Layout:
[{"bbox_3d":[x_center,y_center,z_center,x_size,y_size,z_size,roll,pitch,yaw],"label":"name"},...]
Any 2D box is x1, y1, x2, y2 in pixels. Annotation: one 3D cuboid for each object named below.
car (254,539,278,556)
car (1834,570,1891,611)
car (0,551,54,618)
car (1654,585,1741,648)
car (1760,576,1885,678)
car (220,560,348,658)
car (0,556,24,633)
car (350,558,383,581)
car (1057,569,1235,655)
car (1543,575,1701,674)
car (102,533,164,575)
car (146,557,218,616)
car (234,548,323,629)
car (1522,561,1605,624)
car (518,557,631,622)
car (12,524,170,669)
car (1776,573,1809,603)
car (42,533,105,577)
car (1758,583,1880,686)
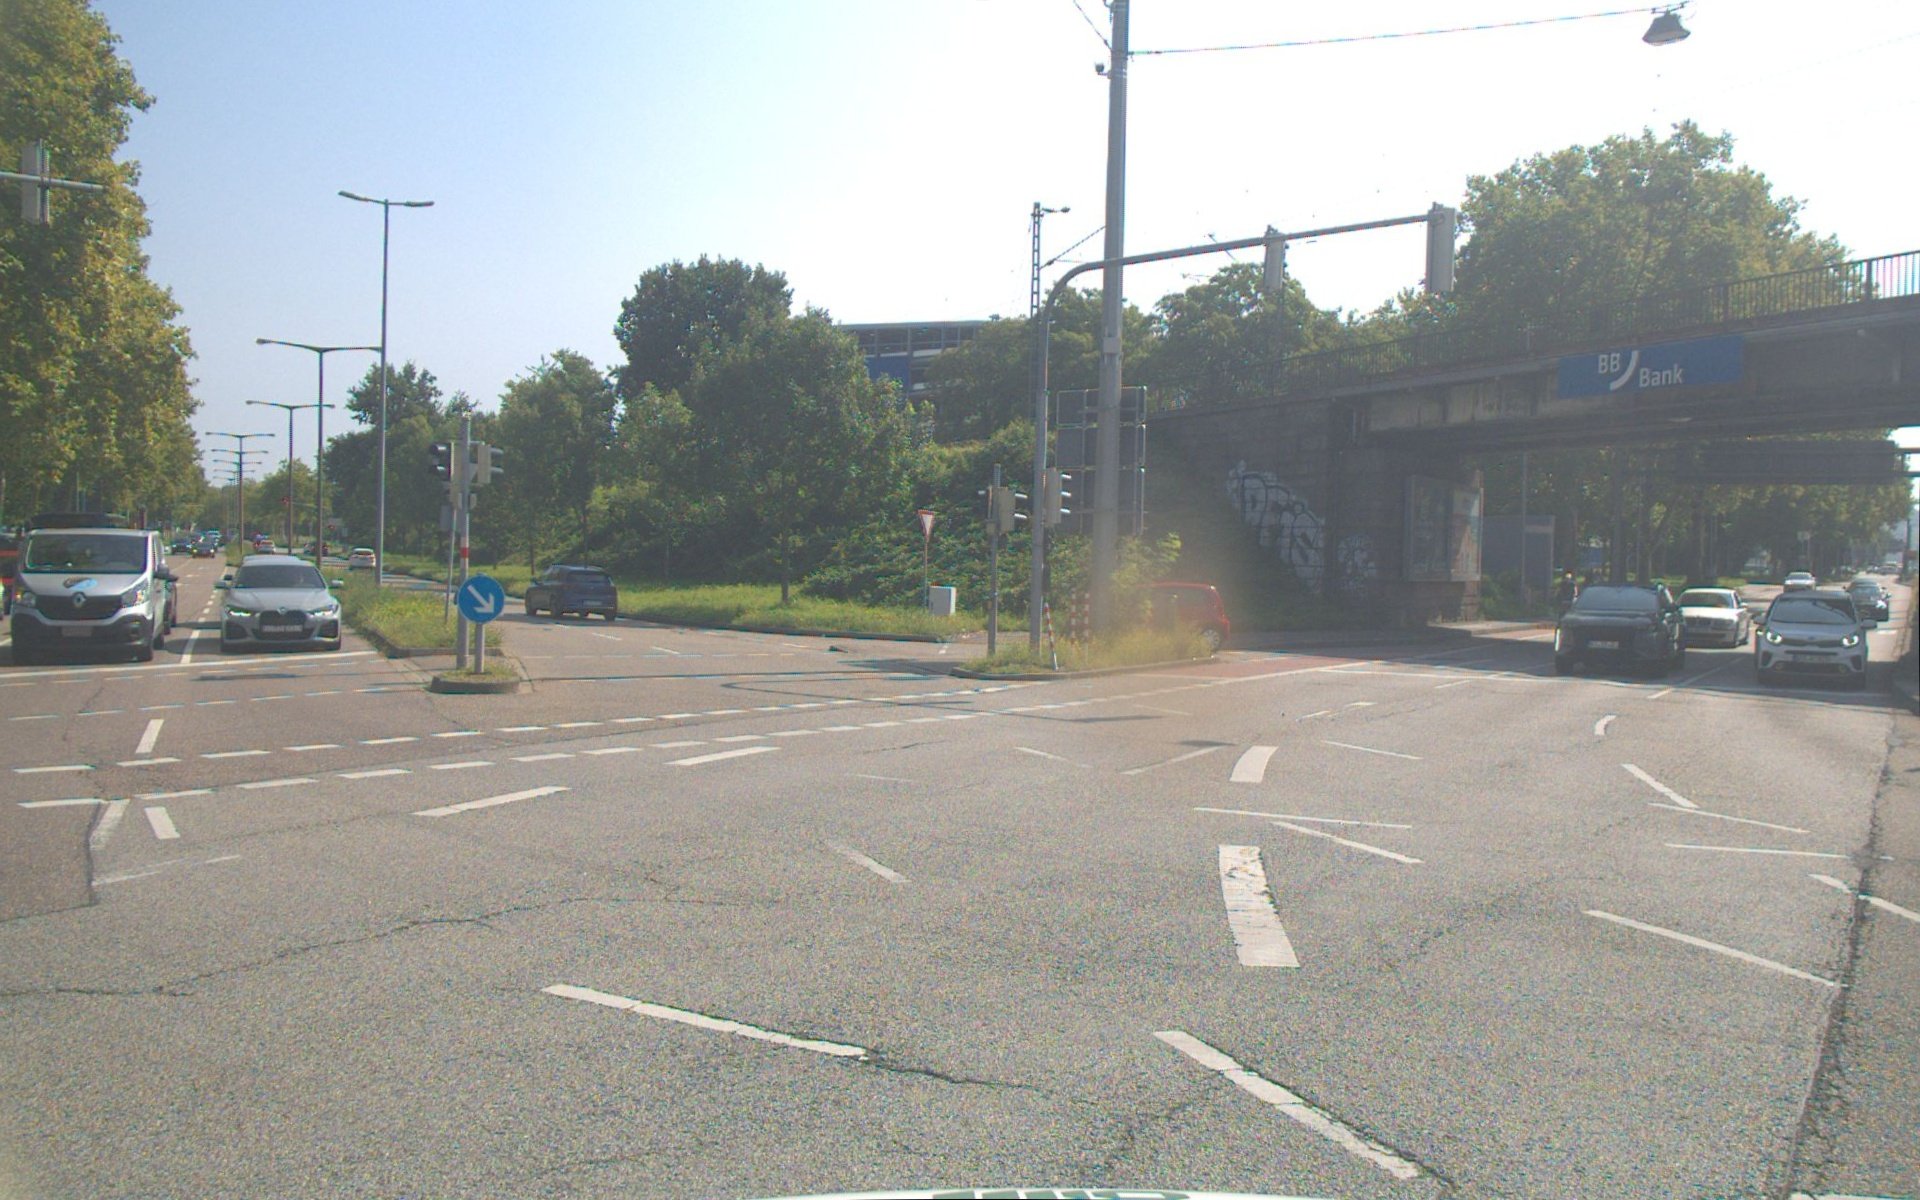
[{"bbox_3d":[-72.254,-5.491,172.264,1.963,1.731,3.980,0,1,-18],"label":"car"},{"bbox_3d":[36.534,-0.414,67.041,1.816,1.508,4.182,3,3,27],"label":"car"},{"bbox_3d":[-23.246,-0.400,40.269,1.645,1.561,3.705,-1,2,-23],"label":"car"},{"bbox_3d":[18.849,0.384,42.192,1.658,1.384,3.995,5,3,28],"label":"car"},{"bbox_3d":[16.628,0.447,31.994,1.955,1.600,4.344,3,4,27],"label":"car"},{"bbox_3d":[-11.598,0.076,28.218,1.812,1.468,4.571,-1,2,-25],"label":"car"},{"bbox_3d":[-20.867,-0.130,34.727,1.645,1.561,3.705,-1,2,-23],"label":"car"},{"bbox_3d":[-43.694,-2.251,121.703,1.968,1.683,3.970,0,1,-24],"label":"car"},{"bbox_3d":[3.988,0.246,35.757,3.475,1.492,1.642,5,2,-7],"label":"car"},{"bbox_3d":[12.181,0.394,30.267,1.868,1.645,4.462,1,1,33],"label":"car"},{"bbox_3d":[-41.987,-2.381,83.952,1.913,1.994,5.122,-2,4,-37],"label":"car"},{"bbox_3d":[-21.933,-0.410,46.722,1.645,1.561,3.705,-1,2,-23],"label":"car"},{"bbox_3d":[-14.324,-0.290,34.693,1.593,1.561,4.071,-2,2,-24],"label":"car"},{"bbox_3d":[20.320,-0.285,55.624,1.956,1.880,3.995,5,3,28],"label":"car"},{"bbox_3d":[-10.686,-0.312,45.669,1.764,1.452,3.957,2,3,-33],"label":"car"},{"bbox_3d":[-13.392,-0.150,25.736,1.903,1.991,5.172,0,2,-25],"label":"car"},{"bbox_3d":[61.398,-0.884,121.993,1.956,2.048,3.995,5,3,28],"label":"car"},{"bbox_3d":[-32.371,-1.641,60.471,1.645,1.561,3.705,-1,2,-23],"label":"car"},{"bbox_3d":[14.429,0.520,27.864,1.688,1.565,3.692,1,1,27],"label":"car"}]
